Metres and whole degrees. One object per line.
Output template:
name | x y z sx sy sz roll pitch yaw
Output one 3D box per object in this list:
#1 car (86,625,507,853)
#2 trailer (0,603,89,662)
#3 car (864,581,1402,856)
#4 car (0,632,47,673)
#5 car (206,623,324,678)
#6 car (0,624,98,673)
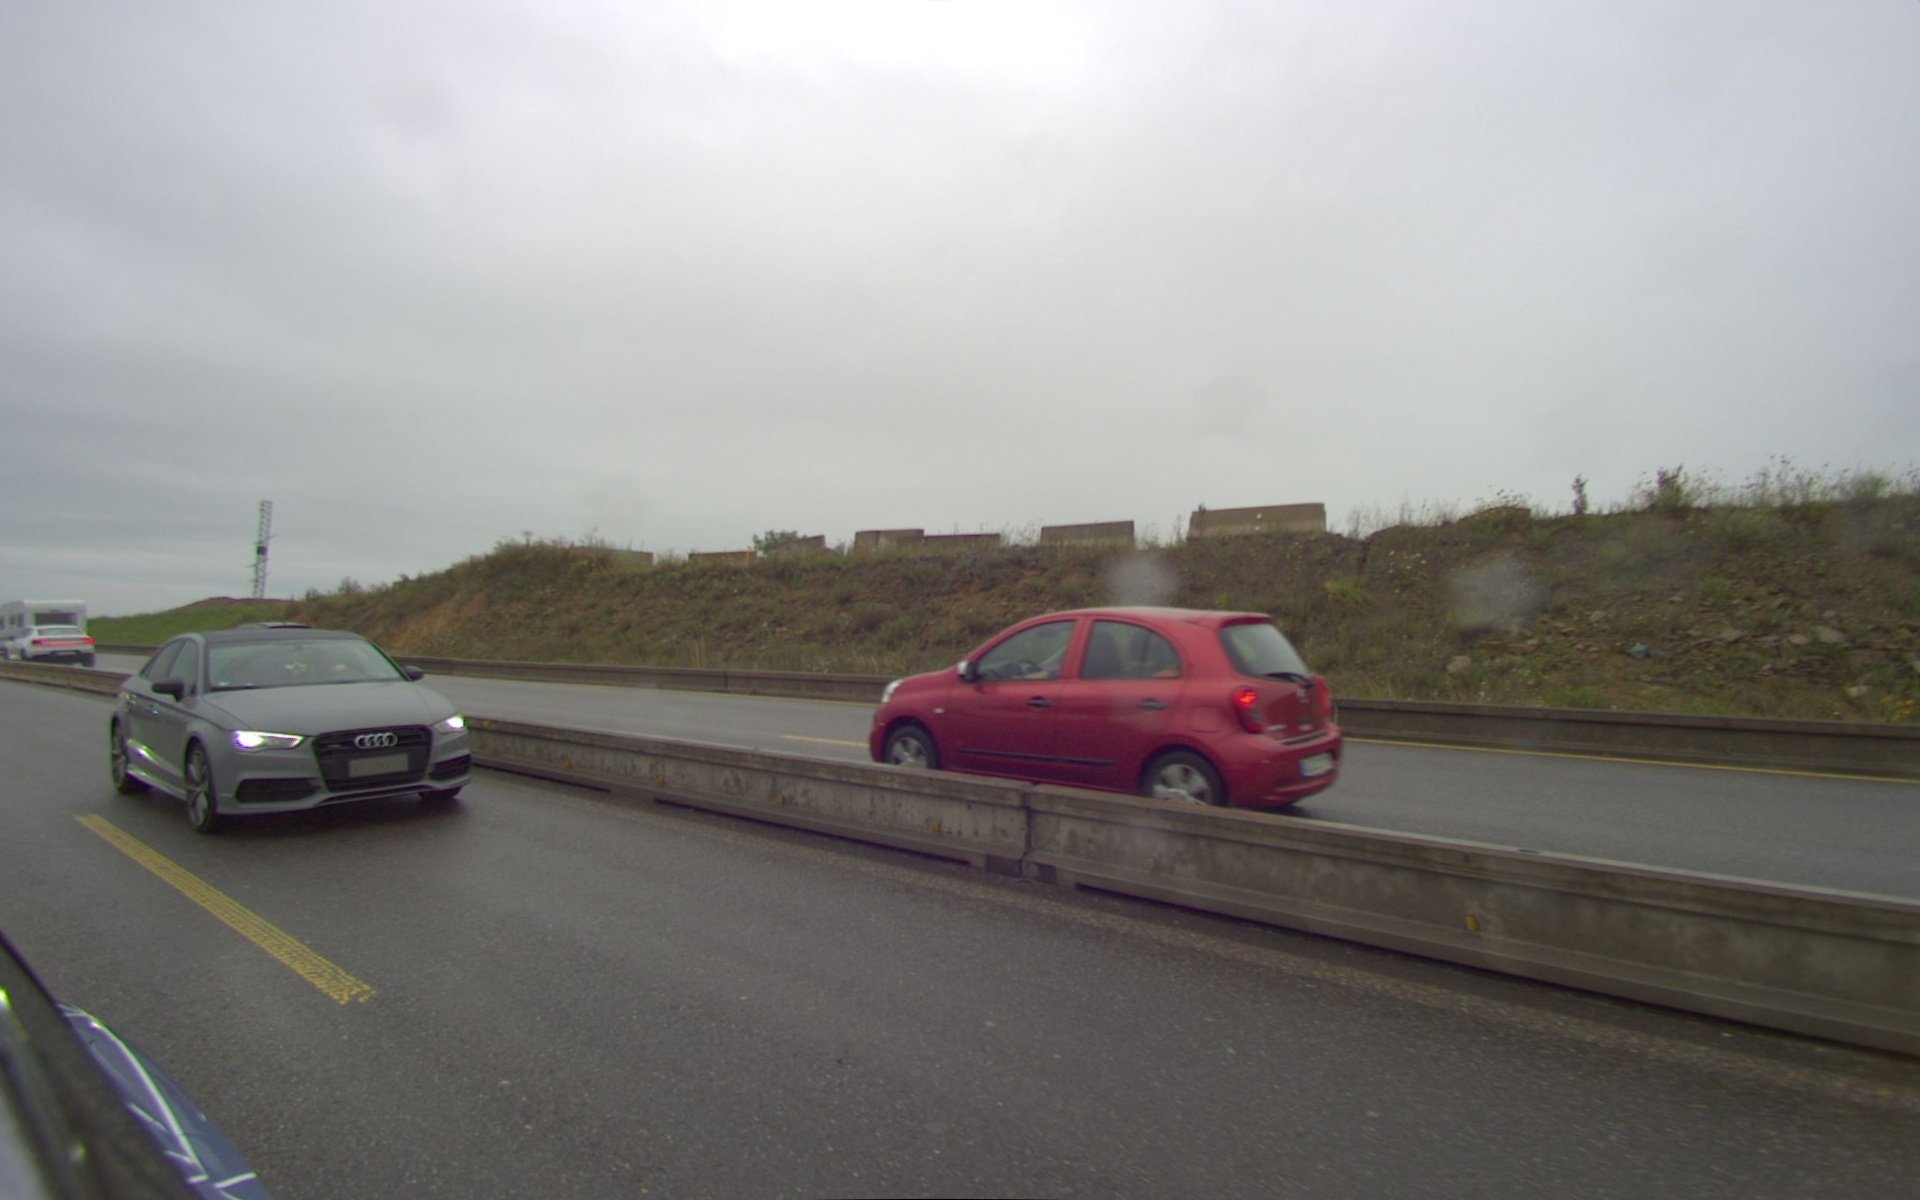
car | -5.622 0.927 8.383 4.083 1.393 1.782 -1 -1 39
trailer | -43.824 1.522 47.977 7.152 2.584 2.486 -2 0 38
car | 1.165 0.709 7.737 3.719 1.589 1.709 -1 -1 41
car | -48.660 2.673 51.653 5.112 1.595 1.978 -2 12 38
car | -20.393 1.435 29.612 4.669 1.454 1.750 -2 -1 41
car | -30.976 1.657 34.327 4.329 1.511 1.859 -3 -1 39
